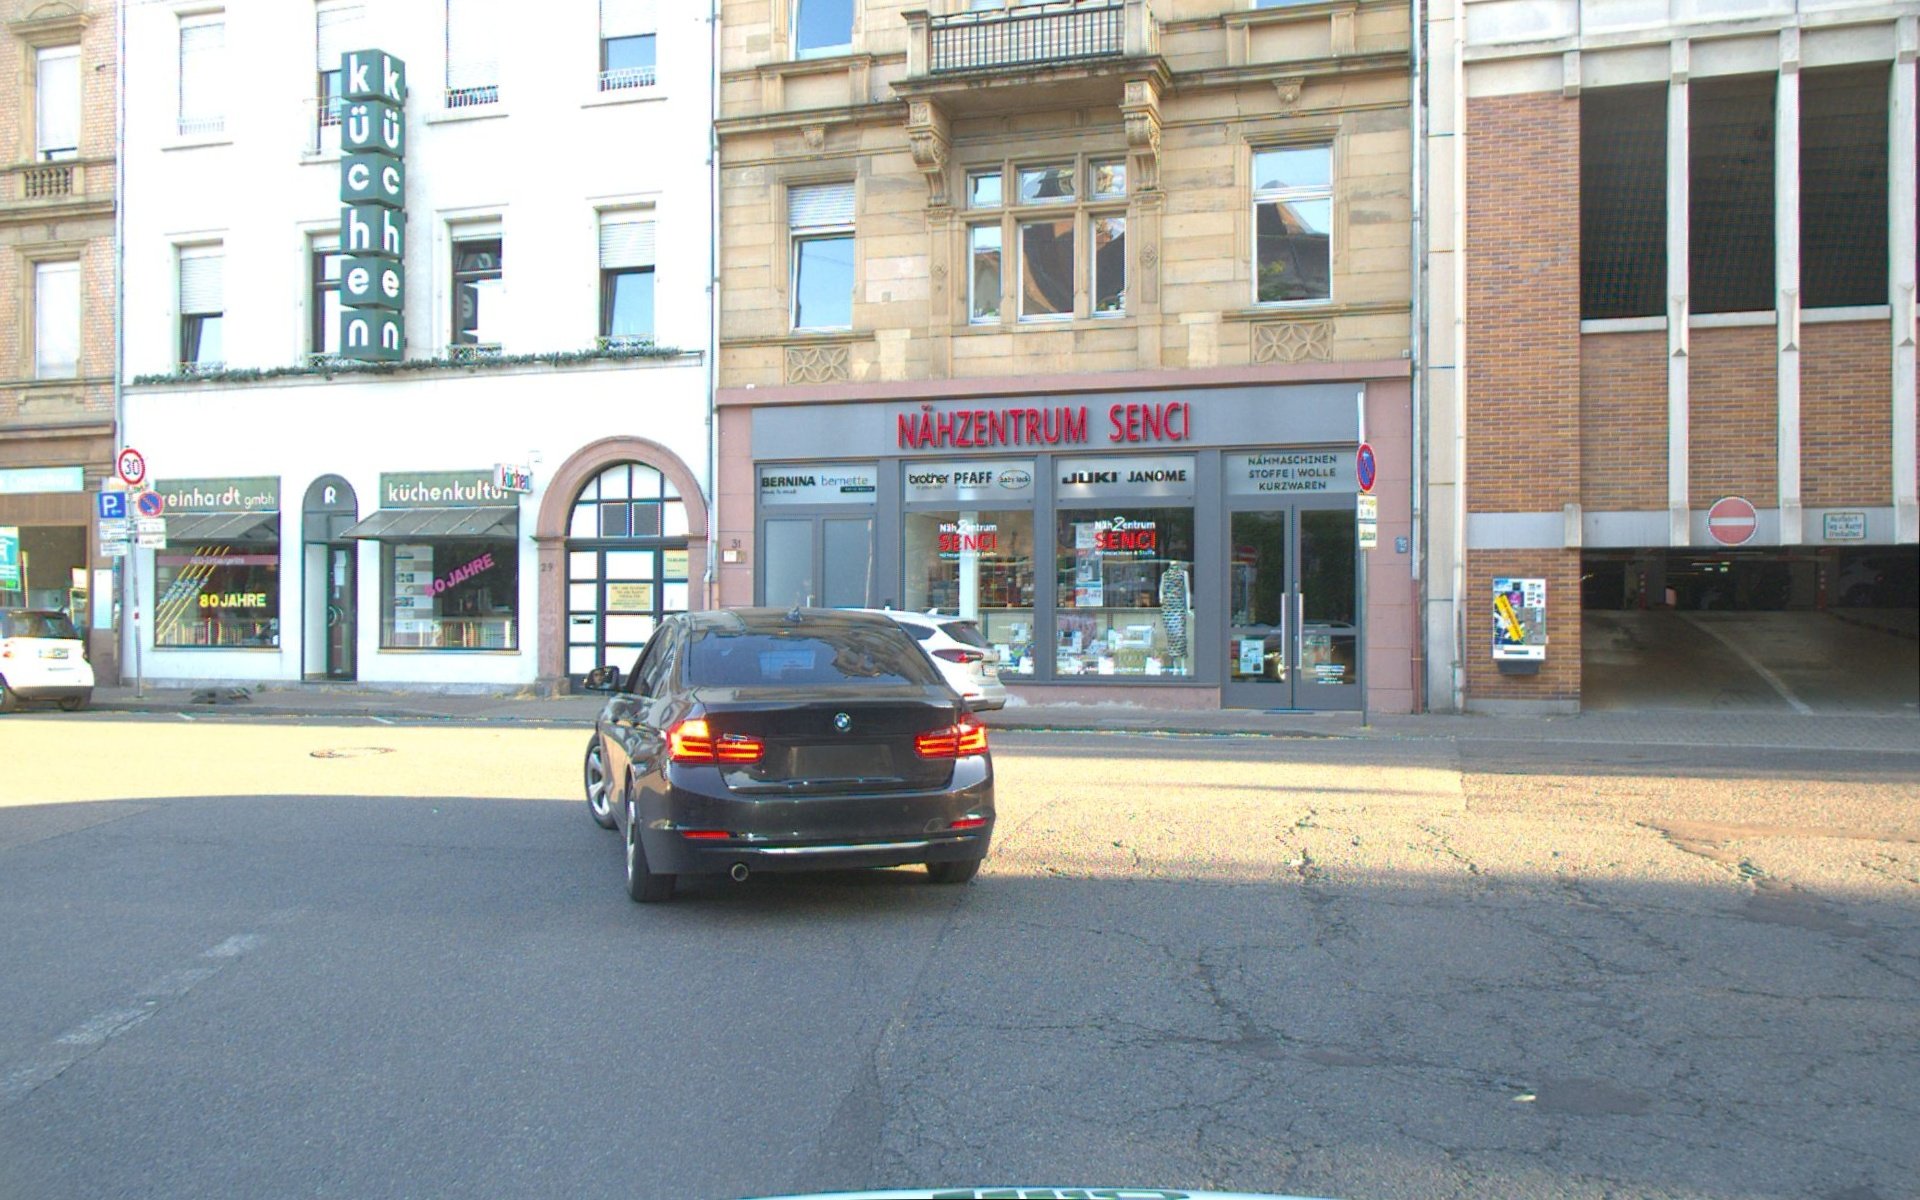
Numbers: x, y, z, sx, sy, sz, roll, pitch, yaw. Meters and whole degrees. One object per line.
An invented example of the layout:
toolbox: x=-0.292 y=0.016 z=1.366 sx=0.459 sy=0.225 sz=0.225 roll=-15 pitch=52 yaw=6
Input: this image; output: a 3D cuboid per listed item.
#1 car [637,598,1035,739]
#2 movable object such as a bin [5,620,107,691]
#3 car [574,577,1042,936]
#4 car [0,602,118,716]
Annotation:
car: x=-1.533 y=0.806 z=20.848 sx=4.568 sy=1.562 sz=2.001 roll=1 pitch=-1 yaw=17
movable object such as a bin: x=-15.791 y=0.956 z=28.908 sx=1.364 sy=1.207 sz=0.869 roll=0 pitch=-1 yaw=18
car: x=-1.097 y=0.713 z=9.307 sx=1.858 sy=1.518 sz=4.185 roll=0 pitch=-1 yaw=-16
car: x=-15.152 y=0.839 z=25.386 sx=3.903 sy=1.612 sz=1.706 roll=1 pitch=0 yaw=19
